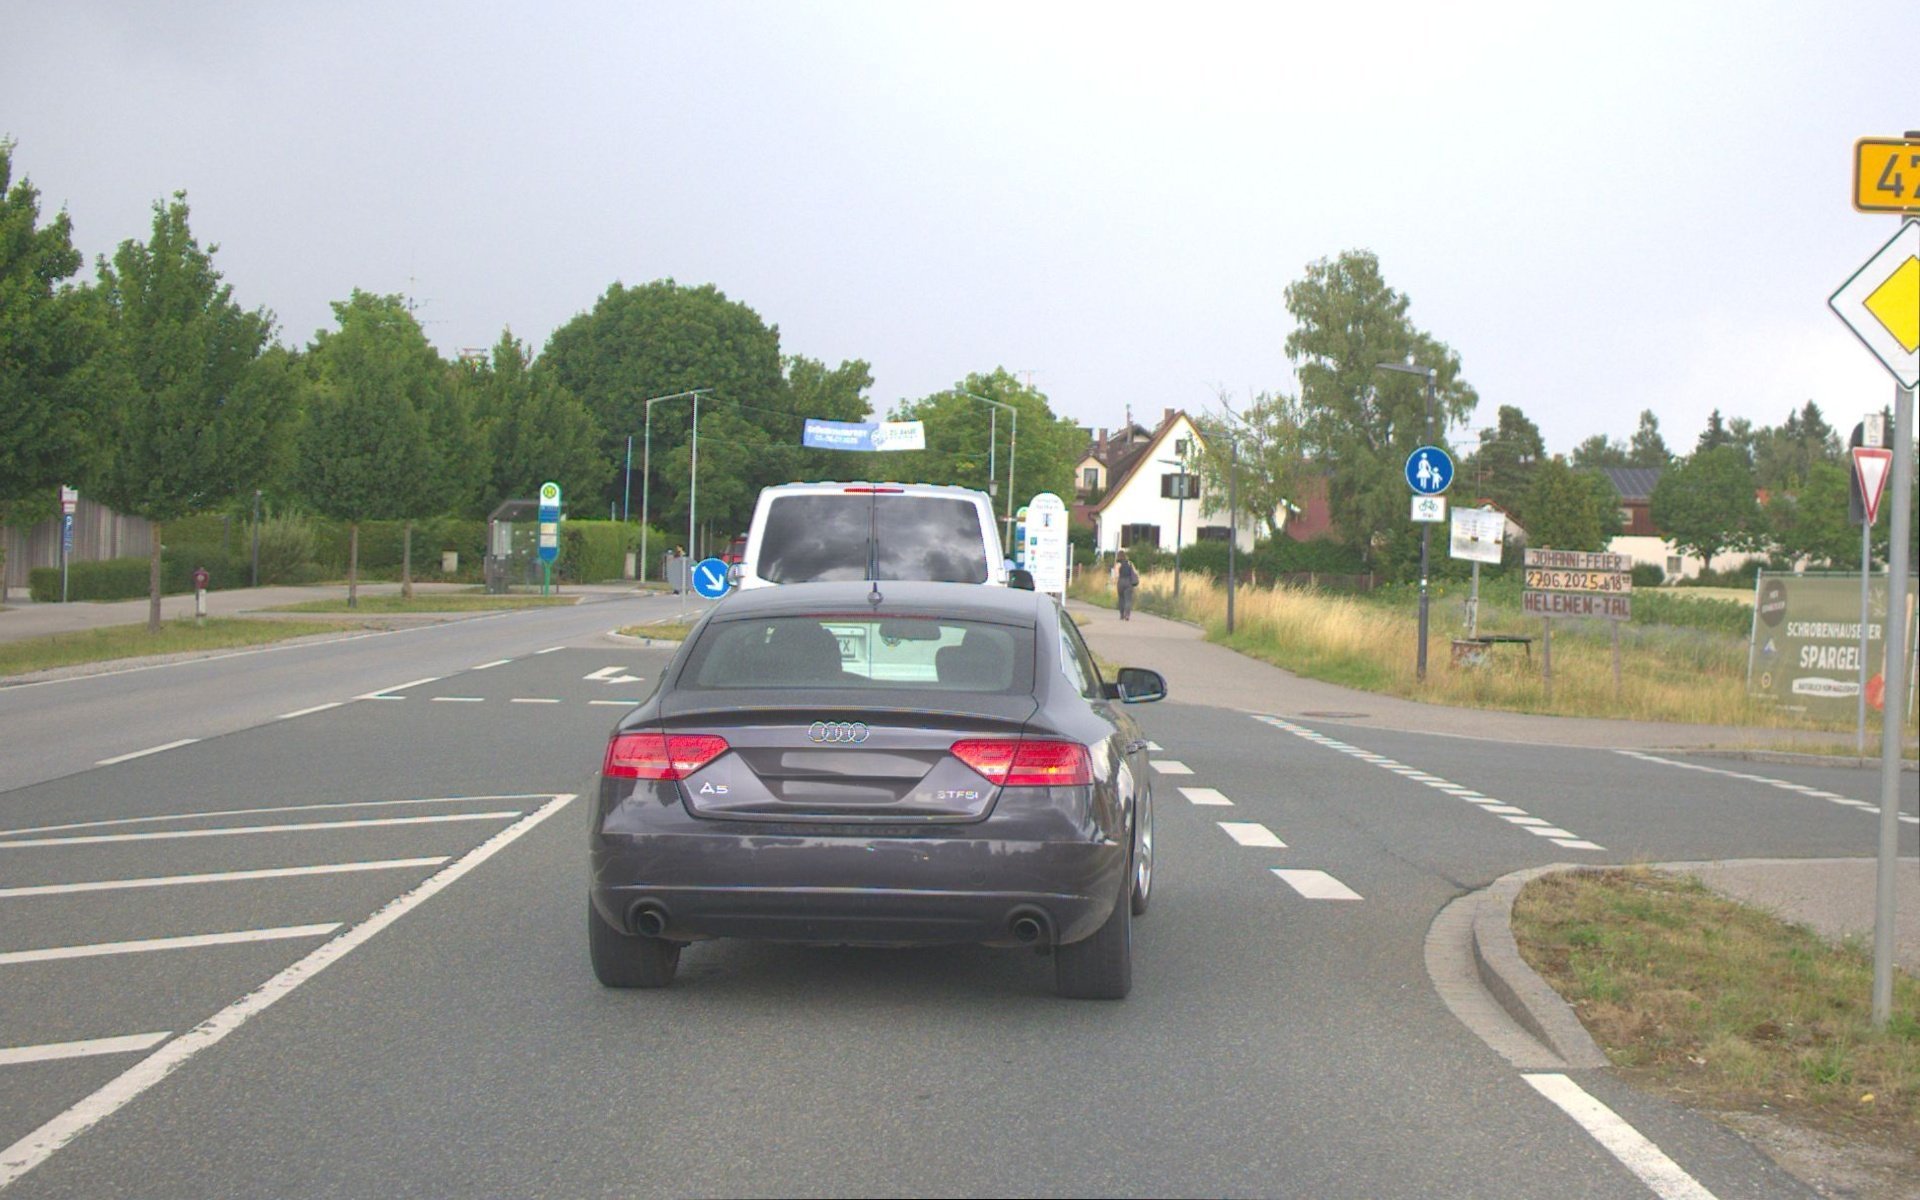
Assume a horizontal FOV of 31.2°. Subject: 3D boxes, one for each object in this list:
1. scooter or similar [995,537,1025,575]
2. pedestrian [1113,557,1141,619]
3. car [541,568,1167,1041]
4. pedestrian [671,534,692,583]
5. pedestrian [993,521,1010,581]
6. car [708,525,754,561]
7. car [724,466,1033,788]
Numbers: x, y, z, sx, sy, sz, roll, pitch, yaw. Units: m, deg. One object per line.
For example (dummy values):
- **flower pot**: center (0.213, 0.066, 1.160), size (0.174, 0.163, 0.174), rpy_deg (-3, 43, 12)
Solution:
- **scooter or similar**: center (1.432, -1.277, 99.190), size (0.848, 1.100, 1.094), rpy_deg (0, 1, 0)
- **pedestrian**: center (4.124, -0.303, 84.868), size (0.623, 1.519, 0.680), rpy_deg (0, 1, -1)
- **car**: center (-0.199, 0.601, 12.698), size (1.826, 1.384, 4.387), rpy_deg (0, 1, 5)
- **pedestrian**: center (-8.709, -1.291, 107.446), size (0.623, 1.519, 0.680), rpy_deg (0, 1, -1)
- **pedestrian**: center (1.183, -1.404, 98.128), size (0.485, 1.726, 0.642), rpy_deg (0, 1, -1)
- **car**: center (-9.339, -2.337, 140.360), size (1.653, 1.424, 3.602), rpy_deg (0, 1, -1)
- **car**: center (-0.577, 0.124, 23.318), size (1.825, 1.907, 4.001), rpy_deg (3, 1, -2)
